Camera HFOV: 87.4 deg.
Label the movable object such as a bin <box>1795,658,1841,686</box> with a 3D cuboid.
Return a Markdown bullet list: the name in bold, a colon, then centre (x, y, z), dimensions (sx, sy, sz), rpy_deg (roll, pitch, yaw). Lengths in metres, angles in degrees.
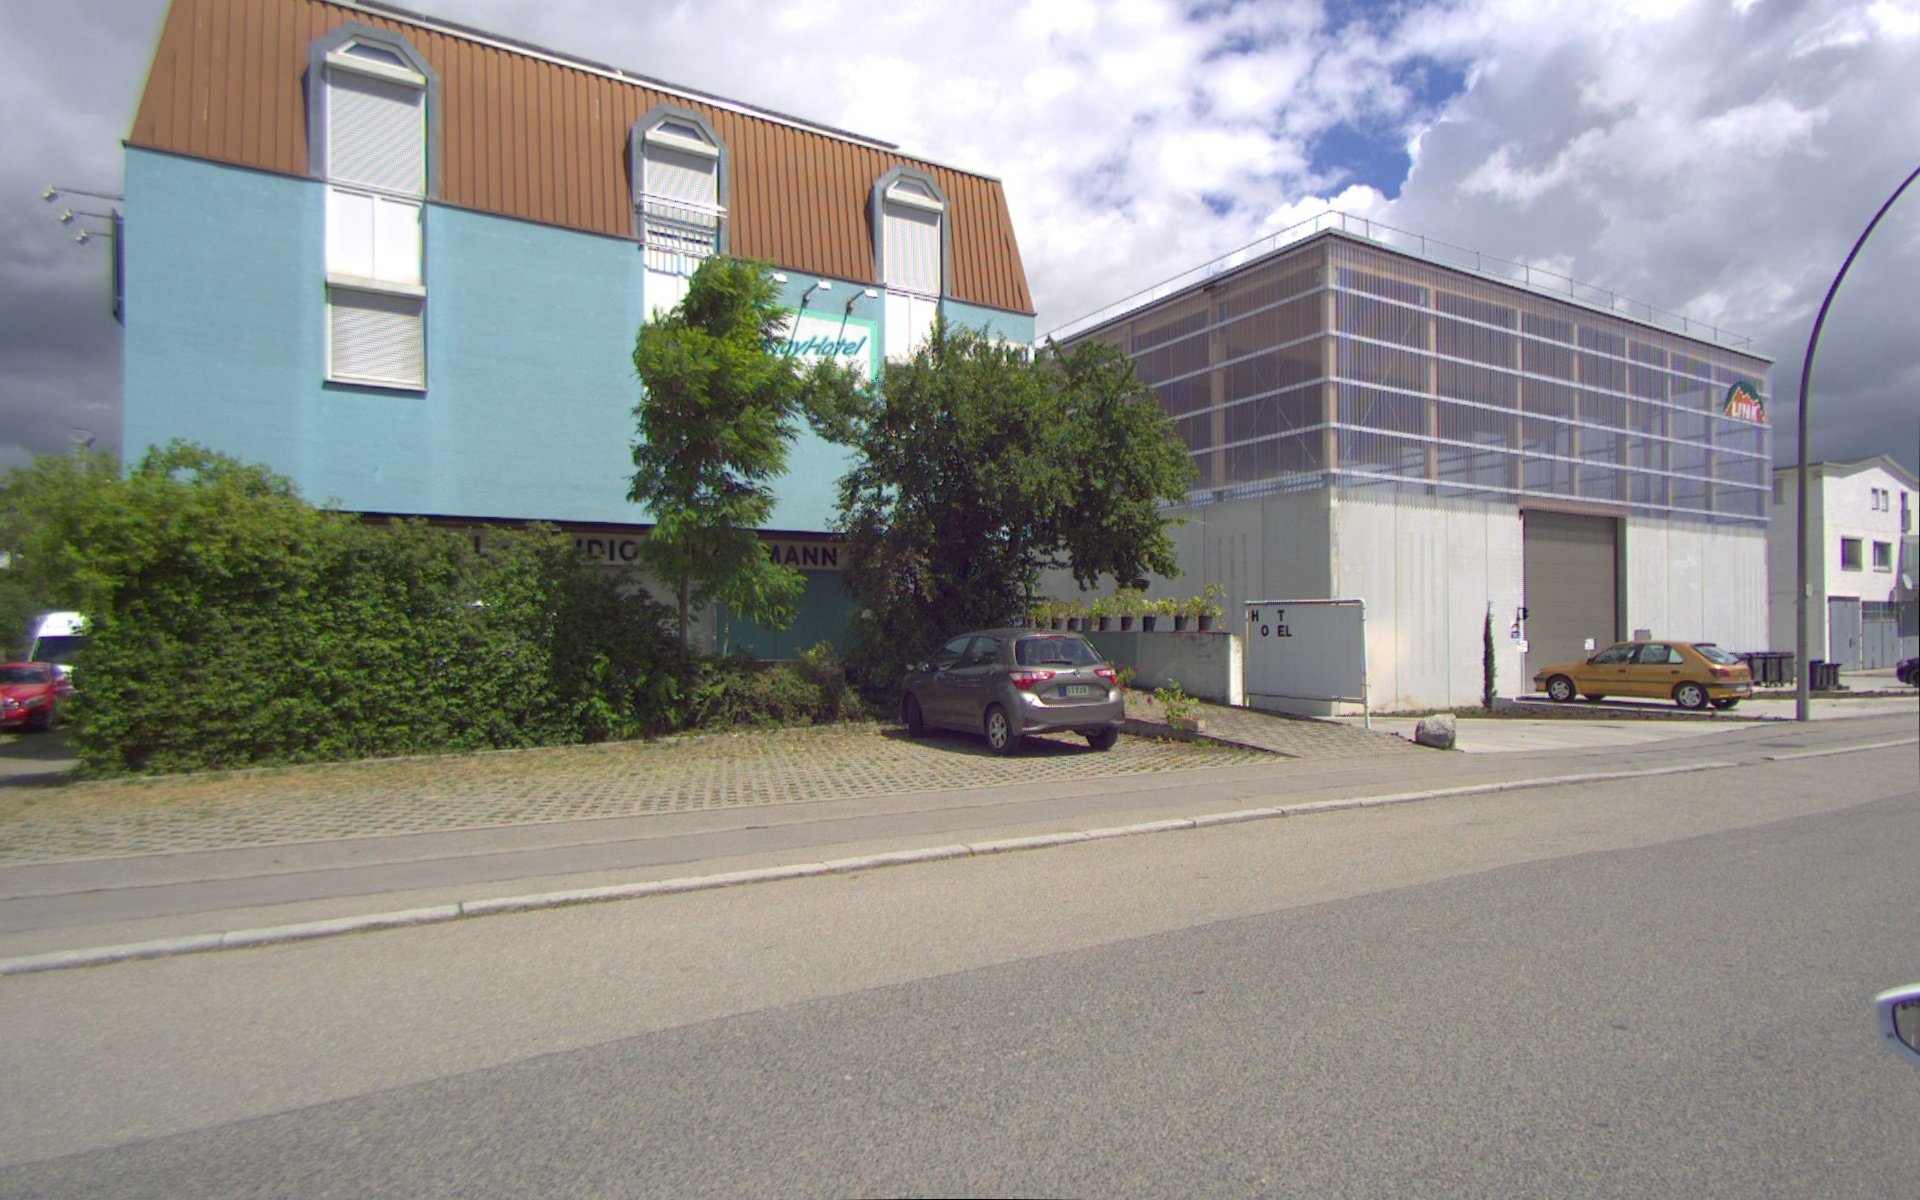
- **movable object such as a bin**: centre (30.330, 2.528, 35.502), dimensions (1.500, 0.931, 0.740), rpy_deg (1, -2, -29)

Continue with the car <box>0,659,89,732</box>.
- **car**: centre (-20.818, 2.051, 22.064), dimensions (1.979, 1.405, 3.965), rpy_deg (1, -2, -33)

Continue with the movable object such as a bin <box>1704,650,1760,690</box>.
- **movable object such as a bin**: centre (28.339, 2.551, 36.884), dimensions (1.796, 1.374, 0.953), rpy_deg (1, 1, -29)

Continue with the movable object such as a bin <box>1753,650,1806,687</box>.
- **movable object such as a bin**: centre (31.577, 2.620, 38.710), dimensions (1.796, 1.374, 0.953), rpy_deg (1, -2, -29)

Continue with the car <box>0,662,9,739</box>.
- **car**: centre (-17.674, 1.791, 16.692), dimensions (1.979, 1.405, 3.965), rpy_deg (1, -2, -33)

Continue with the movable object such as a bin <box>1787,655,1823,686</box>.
- **movable object such as a bin**: centre (29.378, 2.445, 34.941), dimensions (0.703, 1.044, 0.740), rpy_deg (1, -2, -28)

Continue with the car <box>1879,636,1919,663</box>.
- **car**: centre (58.899, 3.057, 62.095), dimensions (4.328, 1.564, 1.983), rpy_deg (1, -2, -32)

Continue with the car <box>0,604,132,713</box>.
- **car**: centre (-23.988, 1.535, 27.119), dimensions (1.978, 2.699, 4.256), rpy_deg (1, -2, -33)

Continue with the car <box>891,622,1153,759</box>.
- **car**: centre (0.684, 1.075, 13.466), dimensions (1.954, 1.553, 3.614), rpy_deg (1, -1, -27)

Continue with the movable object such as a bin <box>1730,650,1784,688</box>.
- **movable object such as a bin**: centre (29.967, 2.579, 37.786), dimensions (1.796, 1.374, 0.953), rpy_deg (1, -2, -29)

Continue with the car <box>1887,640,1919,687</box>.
- **car**: centre (35.624, 2.151, 34.887), dimensions (2.174, 1.654, 4.602), rpy_deg (1, -4, -33)

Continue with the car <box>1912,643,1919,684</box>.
- **car**: centre (37.702, 2.256, 36.315), dimensions (1.806, 1.524, 4.437), rpy_deg (1, -4, -33)

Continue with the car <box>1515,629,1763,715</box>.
- **car**: centre (14.717, 1.483, 22.000), dimensions (1.806, 1.512, 4.125), rpy_deg (1, 1, -33)
